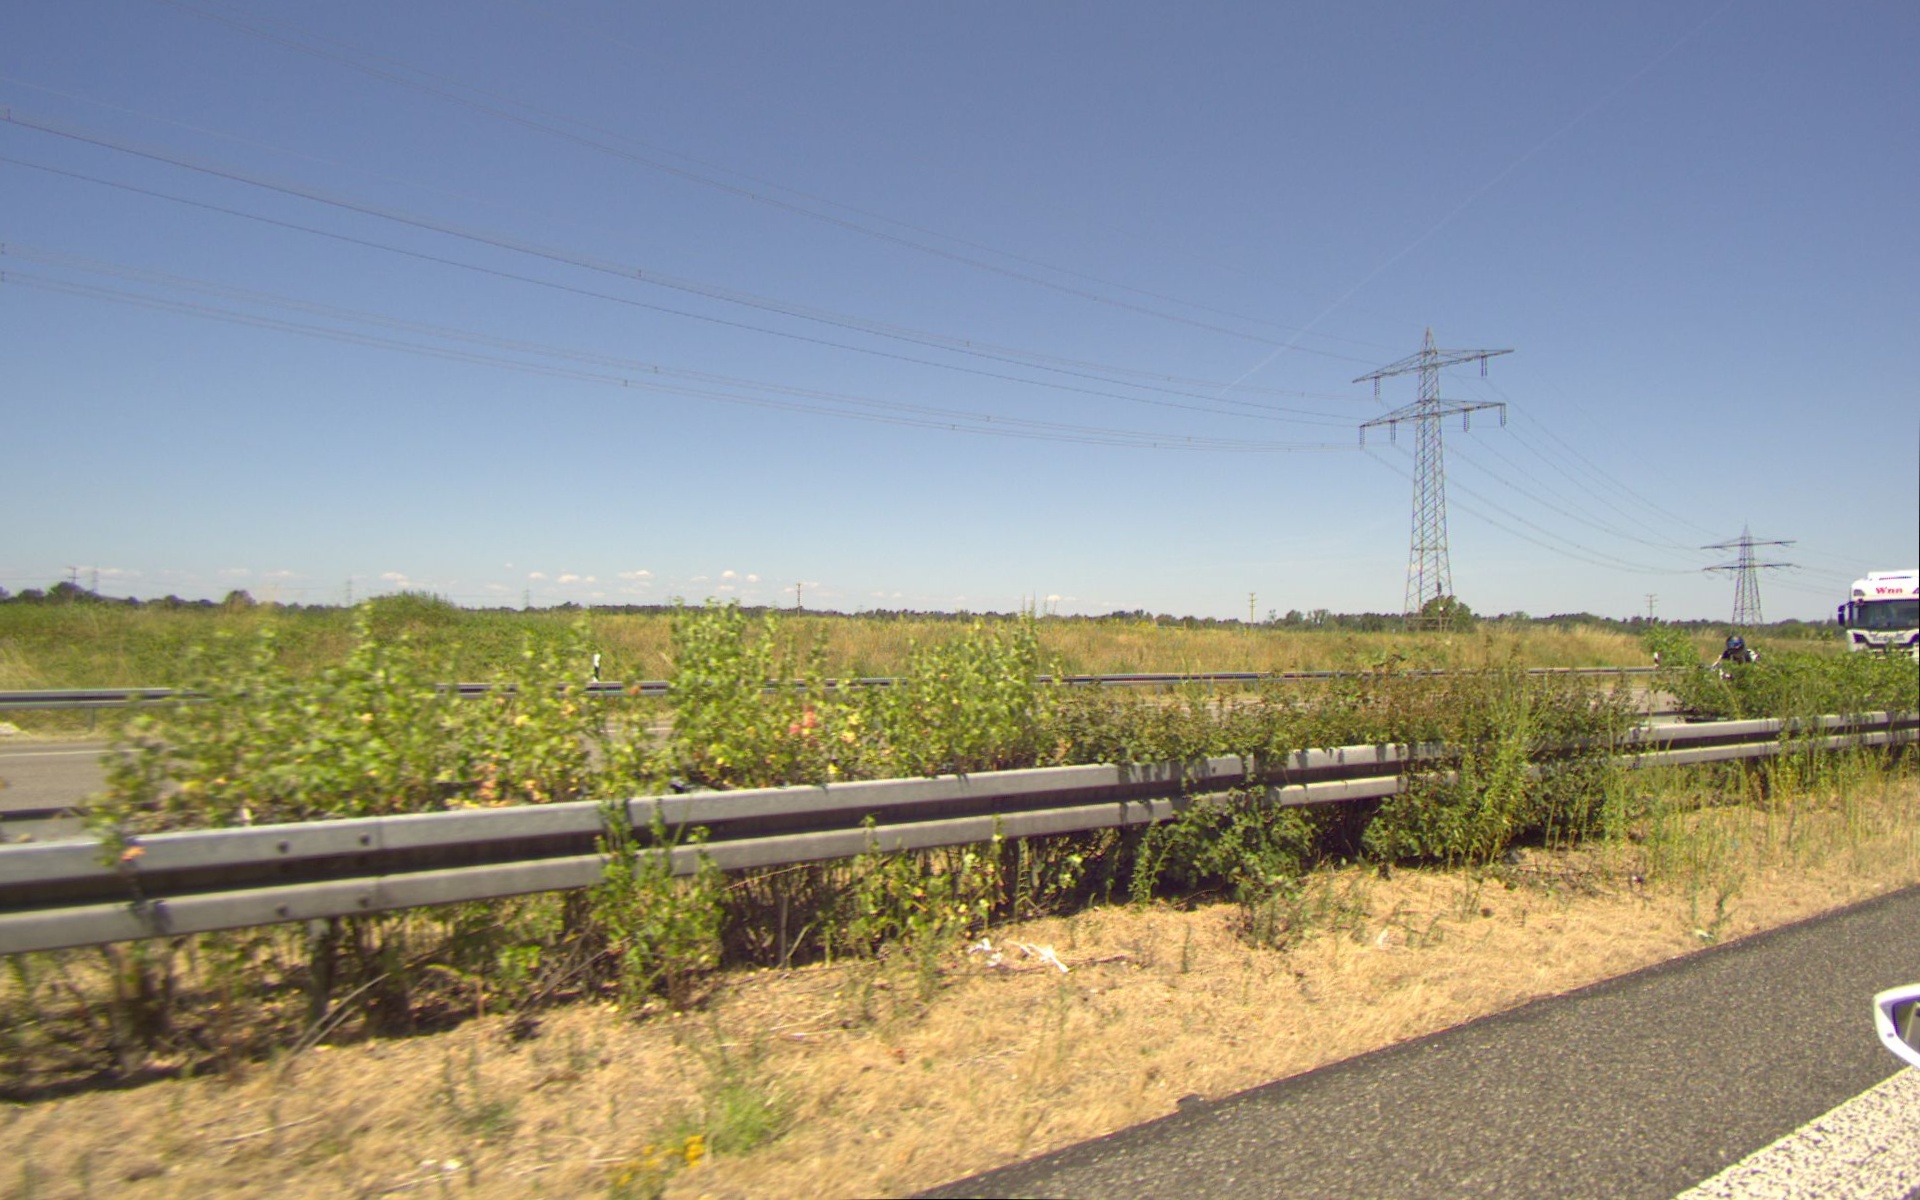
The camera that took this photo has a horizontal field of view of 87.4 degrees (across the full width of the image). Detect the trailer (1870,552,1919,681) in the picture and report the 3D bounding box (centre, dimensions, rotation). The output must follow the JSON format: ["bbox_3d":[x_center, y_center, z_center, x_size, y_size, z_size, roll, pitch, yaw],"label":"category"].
[{"bbox_3d":[38.643,0.742,37.740,14.079,4.407,2.755,2,-1,-32],"label":"trailer"}]

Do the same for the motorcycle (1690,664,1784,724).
[{"bbox_3d":[13.802,1.647,17.829,1.824,0.984,0.696,2,-2,-30],"label":"motorcycle"}]

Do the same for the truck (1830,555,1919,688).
[{"bbox_3d":[32.352,0.755,33.993,5.505,4.213,2.792,2,-1,-31],"label":"truck"}]

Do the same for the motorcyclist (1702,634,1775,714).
[{"bbox_3d":[13.834,1.295,17.854,1.002,1.364,0.704,2,-2,-31],"label":"motorcyclist"}]
